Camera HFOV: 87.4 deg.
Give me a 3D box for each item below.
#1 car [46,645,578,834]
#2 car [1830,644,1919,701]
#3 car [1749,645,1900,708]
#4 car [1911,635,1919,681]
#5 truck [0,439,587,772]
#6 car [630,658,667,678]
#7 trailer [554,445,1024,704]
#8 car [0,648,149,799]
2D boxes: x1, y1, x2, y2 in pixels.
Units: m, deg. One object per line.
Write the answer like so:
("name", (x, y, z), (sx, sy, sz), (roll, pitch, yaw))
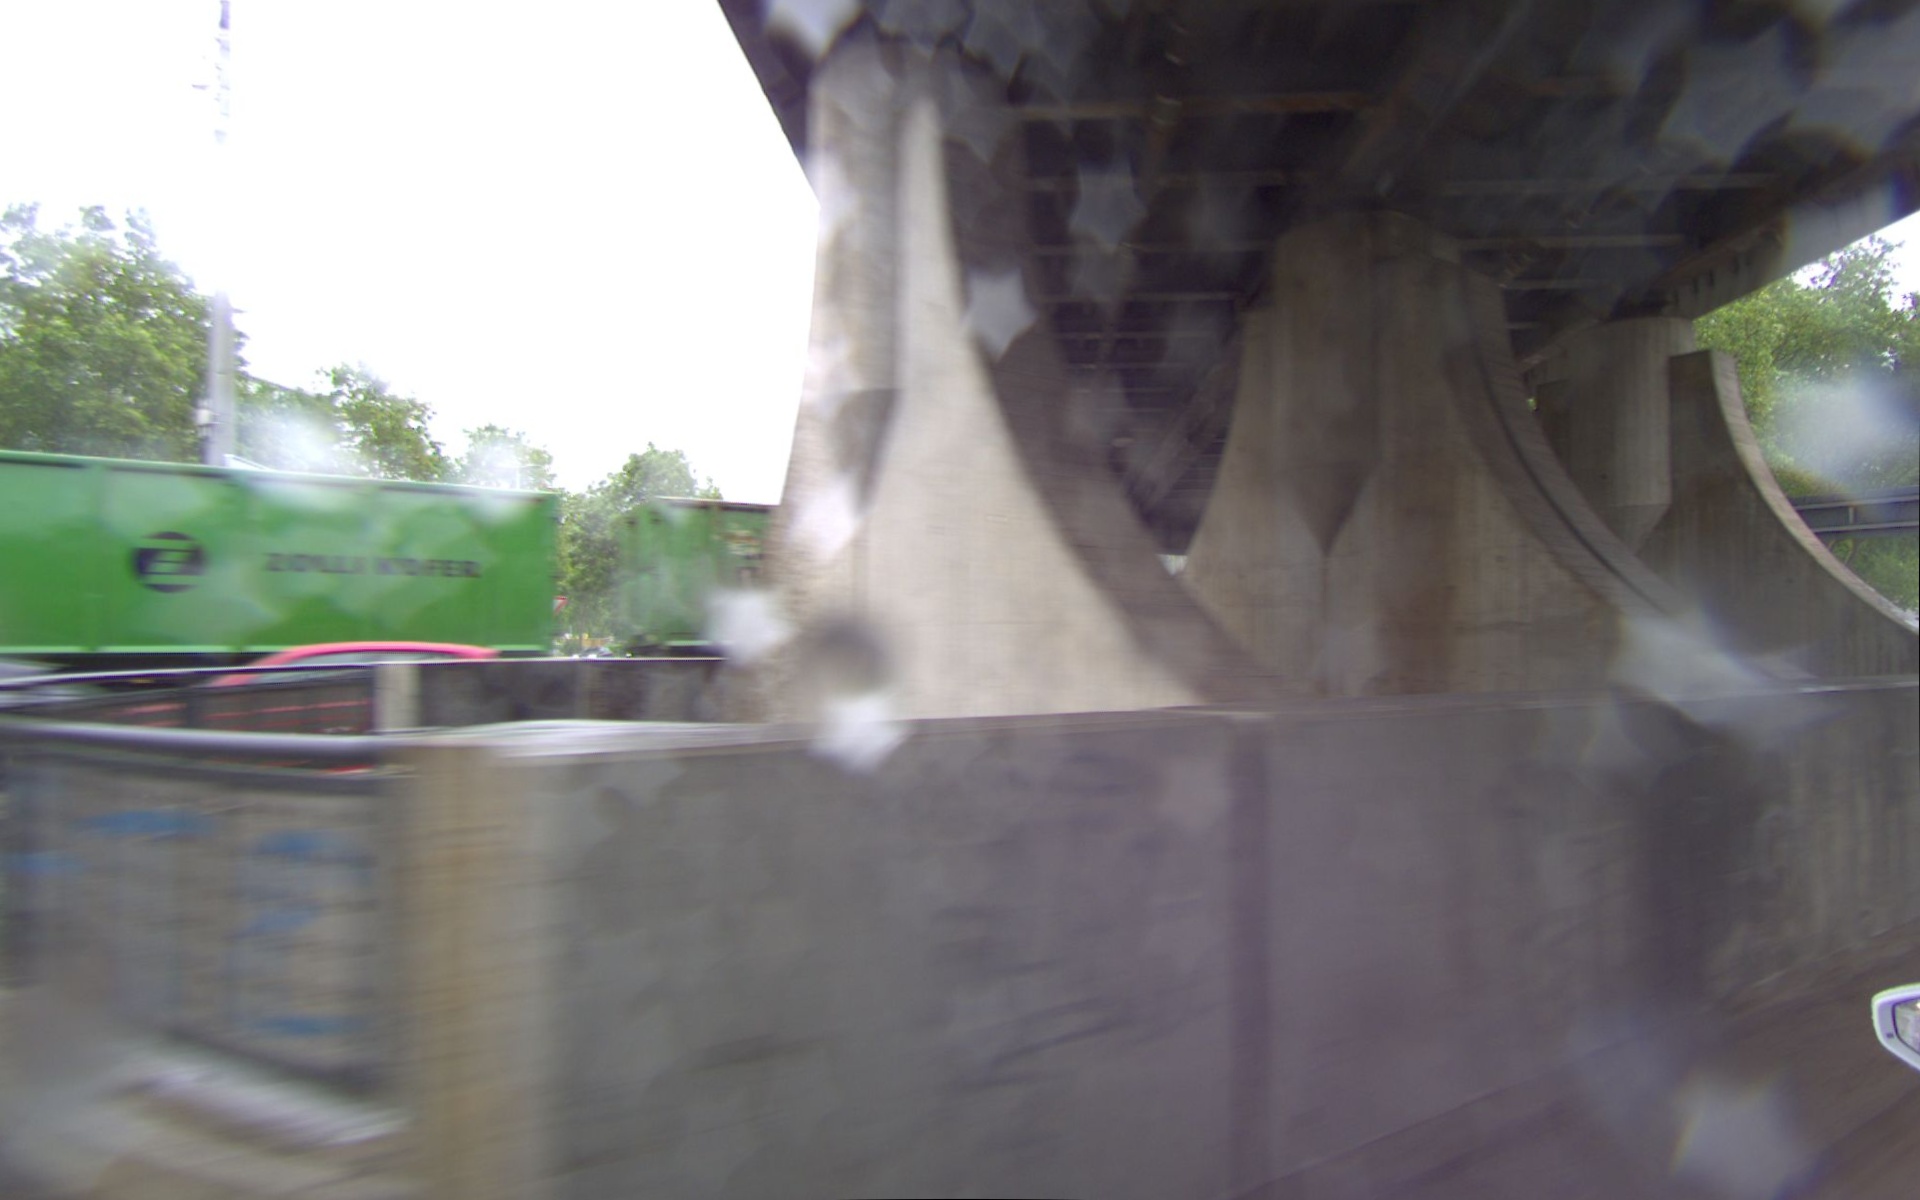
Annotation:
("car", (-5.967, 1.182, 9.722), (3.958, 1.471, 1.805), (2, -3, -34))
("car", (29.168, 2.205, 31.244), (4.040, 1.653, 1.984), (1, -3, -30))
("car", (24.392, 2.096, 28.327), (4.040, 1.653, 1.984), (1, -3, -30))
("car", (36.749, 2.105, 36.621), (4.530, 1.653, 1.983), (2, -3, -33))
("truck", (-10.785, 0.156, 14.124), (10.079, 4.000, 2.666), (1, -3, -32))
("car", (-25.128, 5.472, 81.151), (1.550, 1.542, 3.927), (0, -3, 4))
("trailer", (-2.994, -0.274, 19.065), (8.425, 4.039, 2.667), (1, -3, -32))
("car", (-11.129, 1.231, 9.977), (4.640, 1.504, 1.729), (2, -3, -36))
